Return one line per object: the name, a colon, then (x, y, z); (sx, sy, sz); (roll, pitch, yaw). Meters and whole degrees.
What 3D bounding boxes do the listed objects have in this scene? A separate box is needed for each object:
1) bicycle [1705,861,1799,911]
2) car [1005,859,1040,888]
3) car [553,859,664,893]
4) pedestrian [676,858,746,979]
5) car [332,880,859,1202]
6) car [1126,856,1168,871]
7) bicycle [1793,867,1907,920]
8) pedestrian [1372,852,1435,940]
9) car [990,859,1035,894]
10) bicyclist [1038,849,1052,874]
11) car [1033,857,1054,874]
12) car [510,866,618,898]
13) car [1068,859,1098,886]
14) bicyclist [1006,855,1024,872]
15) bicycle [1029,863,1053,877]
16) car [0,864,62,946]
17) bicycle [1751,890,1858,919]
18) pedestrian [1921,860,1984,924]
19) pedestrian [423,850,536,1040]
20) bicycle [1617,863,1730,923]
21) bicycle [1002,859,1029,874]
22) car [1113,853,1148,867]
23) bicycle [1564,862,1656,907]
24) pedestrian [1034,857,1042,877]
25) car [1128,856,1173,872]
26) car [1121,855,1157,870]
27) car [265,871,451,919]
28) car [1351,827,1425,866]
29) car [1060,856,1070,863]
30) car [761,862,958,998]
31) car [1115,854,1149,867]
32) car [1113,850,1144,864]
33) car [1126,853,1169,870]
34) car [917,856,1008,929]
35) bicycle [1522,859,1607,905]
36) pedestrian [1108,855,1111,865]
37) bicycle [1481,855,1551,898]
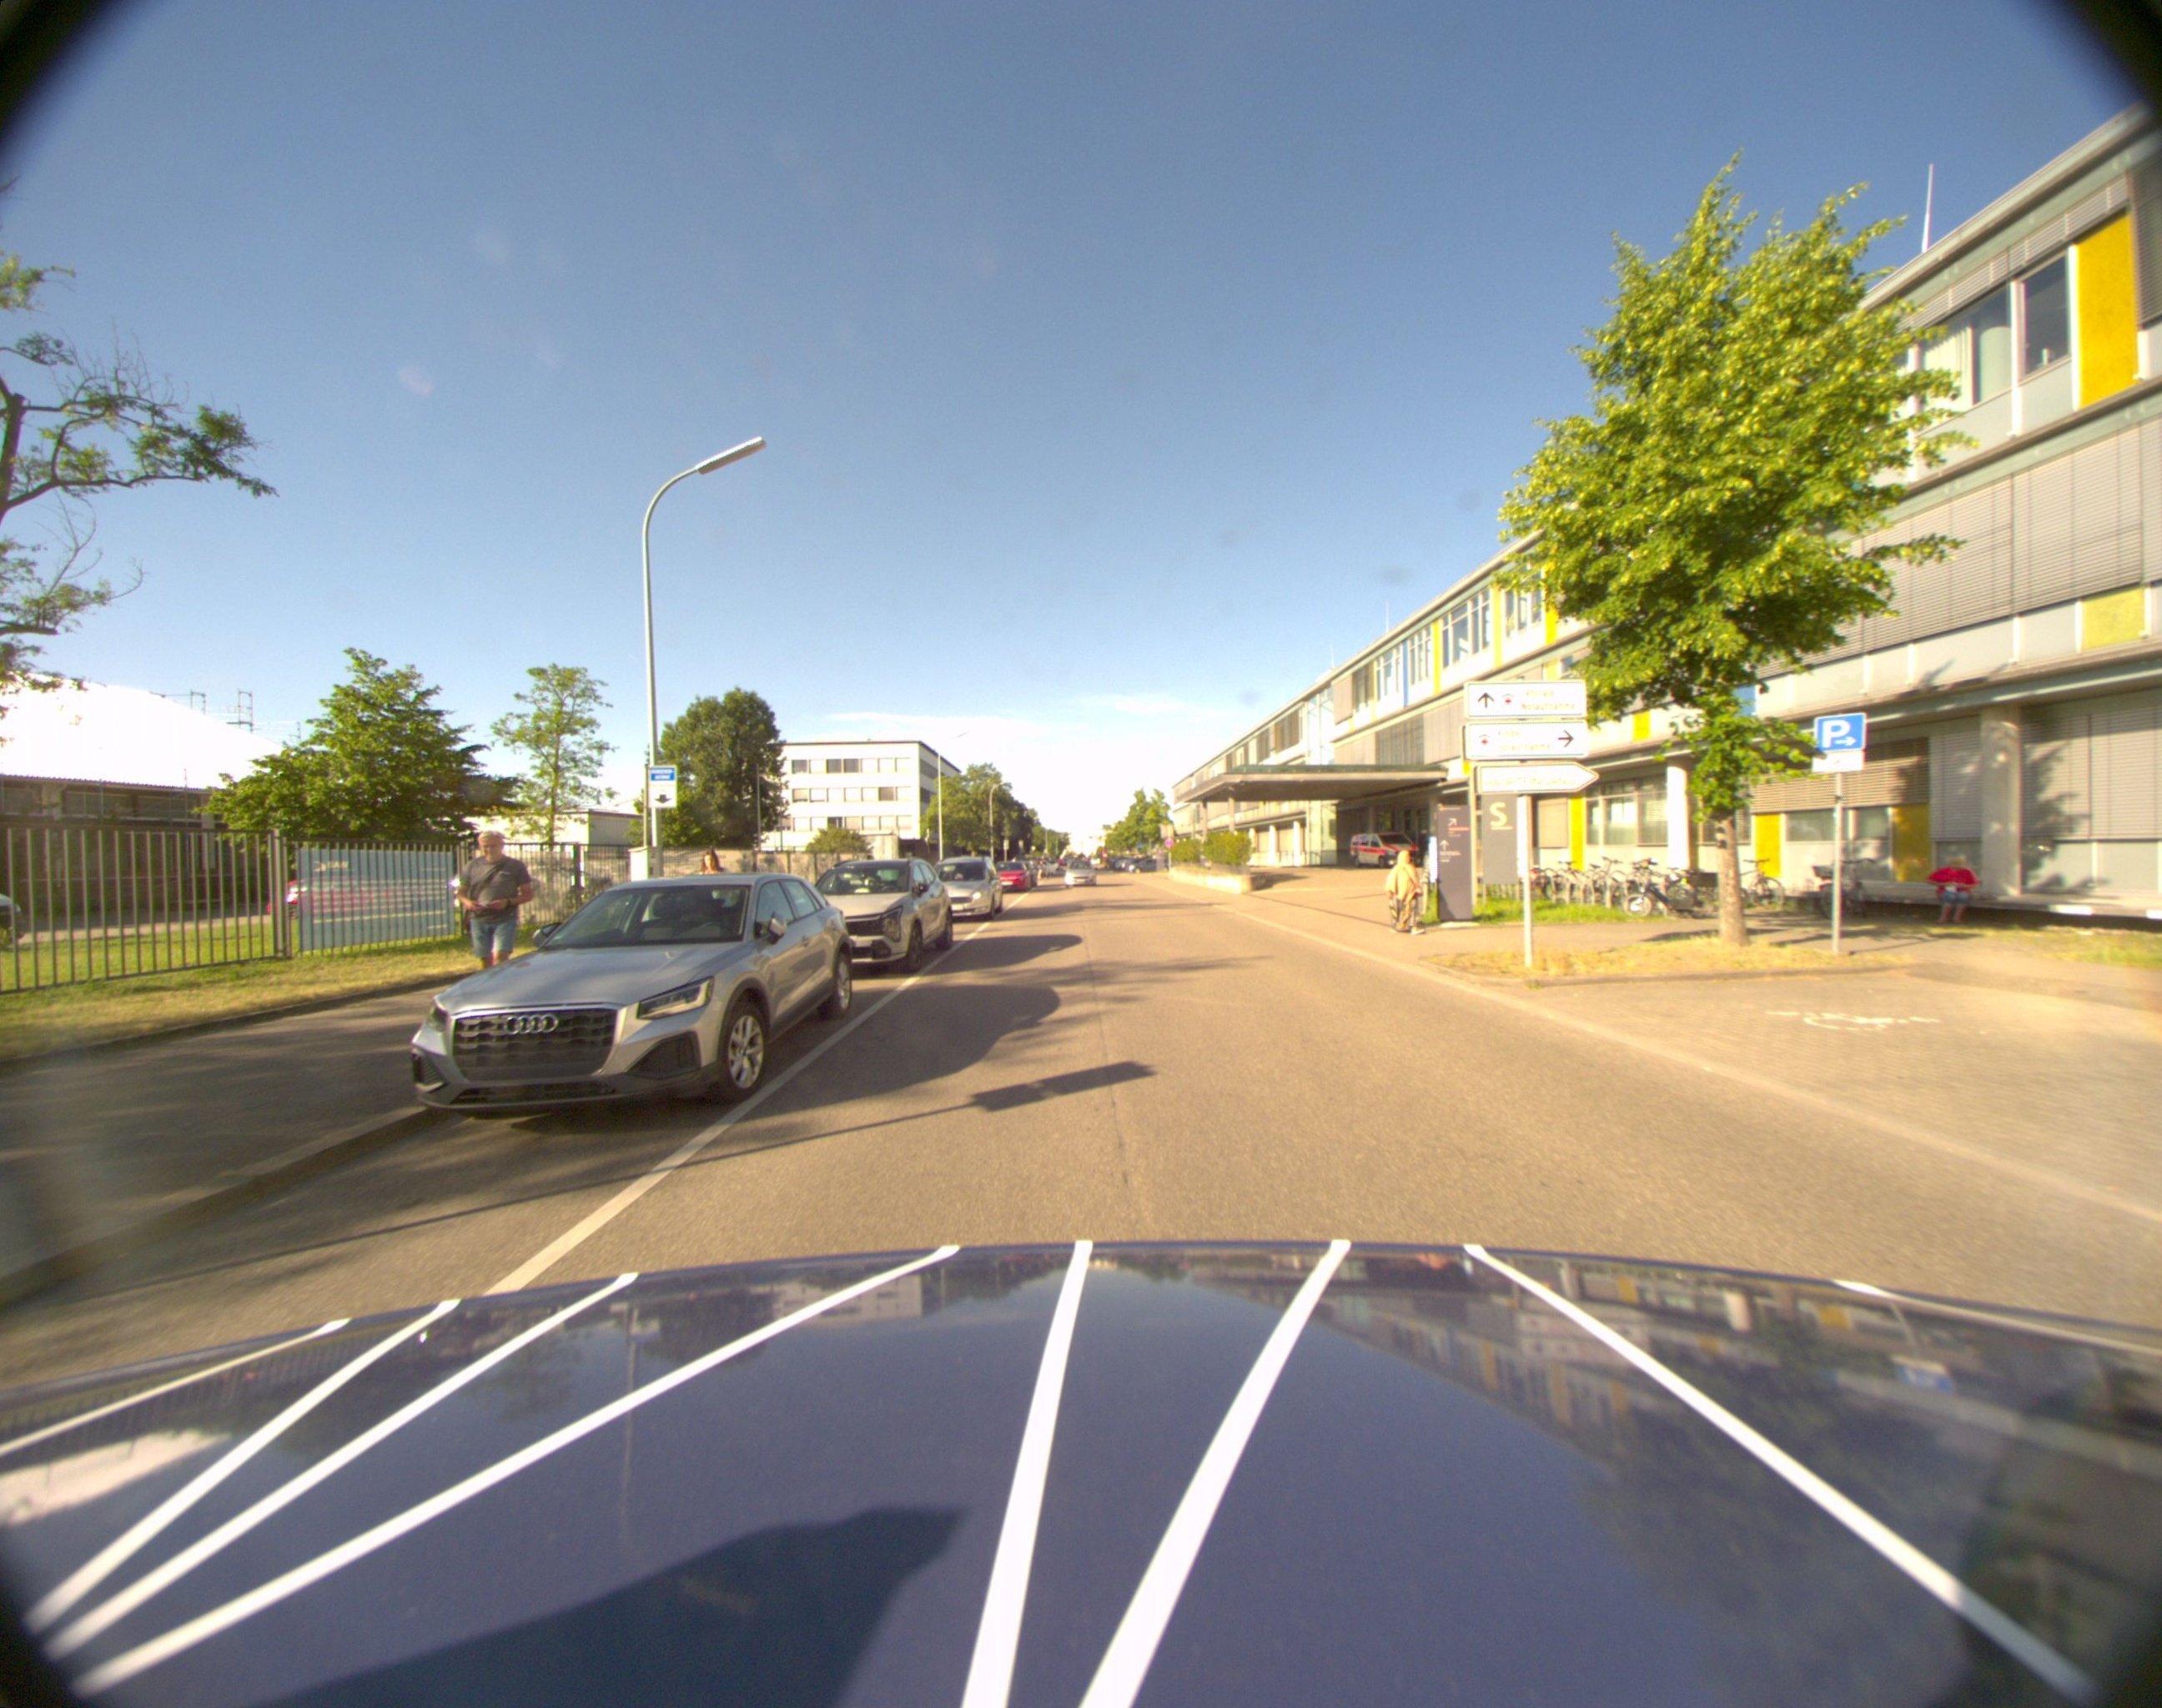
bicycle: (15.481, 0.734, 17.549); (1.719, 1.117, 0.536); (-1, 0, -2)
car: (-3.269, 1.054, 43.234); (1.705, 1.478, 4.214); (-3, 0, -1)
car: (-25.522, 1.166, 41.183); (4.642, 1.658, 1.999); (-1, 0, -6)
pedestrian: (-5.168, 0.874, 10.647); (0.540, 1.602, 0.683); (-3, 1, 0)
car: (-3.135, 1.053, 6.017); (1.705, 1.479, 3.979); (-3, 0, -3)
car: (6.703, 0.950, 77.062); (3.998, 1.429, 1.730); (-2, 0, -3)
bicycle: (15.003, 0.759, 14.842); (1.719, 0.988, 0.536); (-1, 0, -2)
pedestrian: (6.003, 0.760, 14.169); (0.774, 1.540, 0.780); (-3, 1, 0)
car: (-3.325, 1.053, 37.428); (1.814, 1.501, 4.721); (-3, 0, -1)
bicyclist: (-2.868, 0.592, 60.639); (1.052, 2.002, 0.959); (-1, 1, -1)
car: (-3.477, 1.053, 70.731); (1.668, 1.505, 4.114); (-3, 0, 0)
car: (-24.530, 1.303, 36.158); (3.899, 1.371, 1.675); (-1, 0, -3)
car: (0.117, 0.994, 42.330); (1.551, 1.389, 3.454); (0, 0, 0)
bicyclist: (-4.934, 0.738, 57.170); (1.098, 1.261, 0.863); (-1, 0, 15)
bicycle: (-3.161, 1.249, 60.606); (1.884, 1.001, 0.702); (1, -8, -1)
car: (-24.282, 1.165, 15.068); (4.979, 1.635, 2.095); (-3, 0, -3)
bicycle: (14.956, 1.037, 15.725); (1.719, 0.548, 0.536); (-1, 0, -2)
pedestrian: (16.201, 0.696, 14.139); (0.533, 1.166, 0.556); (-1, 1, 1)
pedestrian: (-5.613, 0.822, 7.118); (0.522, 1.699, 0.523); (-3, 1, 0)
bicycle: (11.395, 0.746, 14.647); (1.706, 1.115, 0.536); (-1, 0, 5)
bicycle: (-4.921, 0.948, 57.241); (1.899, 1.136, 0.668); (0, 0, 15)
car: (6.625, 0.843, 102.390); (4.361, 1.618, 1.999); (-3, 1, -4)
bicycle: (11.860, 0.680, 17.060); (1.719, 0.968, 0.536); (-1, 0, -2)
pedestrian: (-3.816, 1.148, 66.954); (0.693, 1.718, 0.775); (0, 0, -1)
car: (6.794, 0.942, 74.519); (4.142, 1.458, 1.753); (-2, 0, -2)
car: (6.816, 0.994, 89.656); (3.992, 1.480, 1.823); (-3, 1, -2)
car: (-23.534, 1.310, 24.851); (4.154, 1.245, 1.828); (-3, 0, -3)
car: (16.029, -0.374, 39.945); (1.924, 1.880, 4.711); (-1, 0, -1)
car: (-3.304, 1.165, 156.443); (1.999, 1.382, 3.998); (0, 0, -5)
car: (-3.151, 0.978, 11.774); (1.705, 1.597, 4.352); (-3, 0, 0)
car: (6.489, 0.840, 96.707); (4.102, 1.414, 1.823); (-3, 1, -2)
car: (6.926, 0.388, 111.918); (4.359, 1.852, 2.000); (-3, 0, 0)
car: (6.921, 0.796, 79.507); (4.232, 1.642, 1.960); (-1, 0, -3)
car: (-3.135, 0.943, 21.040); (1.814, 1.712, 4.703); (-3, 0, -1)
bicycle: (11.568, 0.669, 18.203); (1.719, 1.049, 0.536); (-1, 0, -2)
pedestrian: (4.840, 1.023, 127.976); (0.369, 1.712, 0.479); (-3, 5, -4)
bicycle: (11.957, 0.610, 20.884); (1.721, 1.117, 0.536); (-1, 0, -10)
